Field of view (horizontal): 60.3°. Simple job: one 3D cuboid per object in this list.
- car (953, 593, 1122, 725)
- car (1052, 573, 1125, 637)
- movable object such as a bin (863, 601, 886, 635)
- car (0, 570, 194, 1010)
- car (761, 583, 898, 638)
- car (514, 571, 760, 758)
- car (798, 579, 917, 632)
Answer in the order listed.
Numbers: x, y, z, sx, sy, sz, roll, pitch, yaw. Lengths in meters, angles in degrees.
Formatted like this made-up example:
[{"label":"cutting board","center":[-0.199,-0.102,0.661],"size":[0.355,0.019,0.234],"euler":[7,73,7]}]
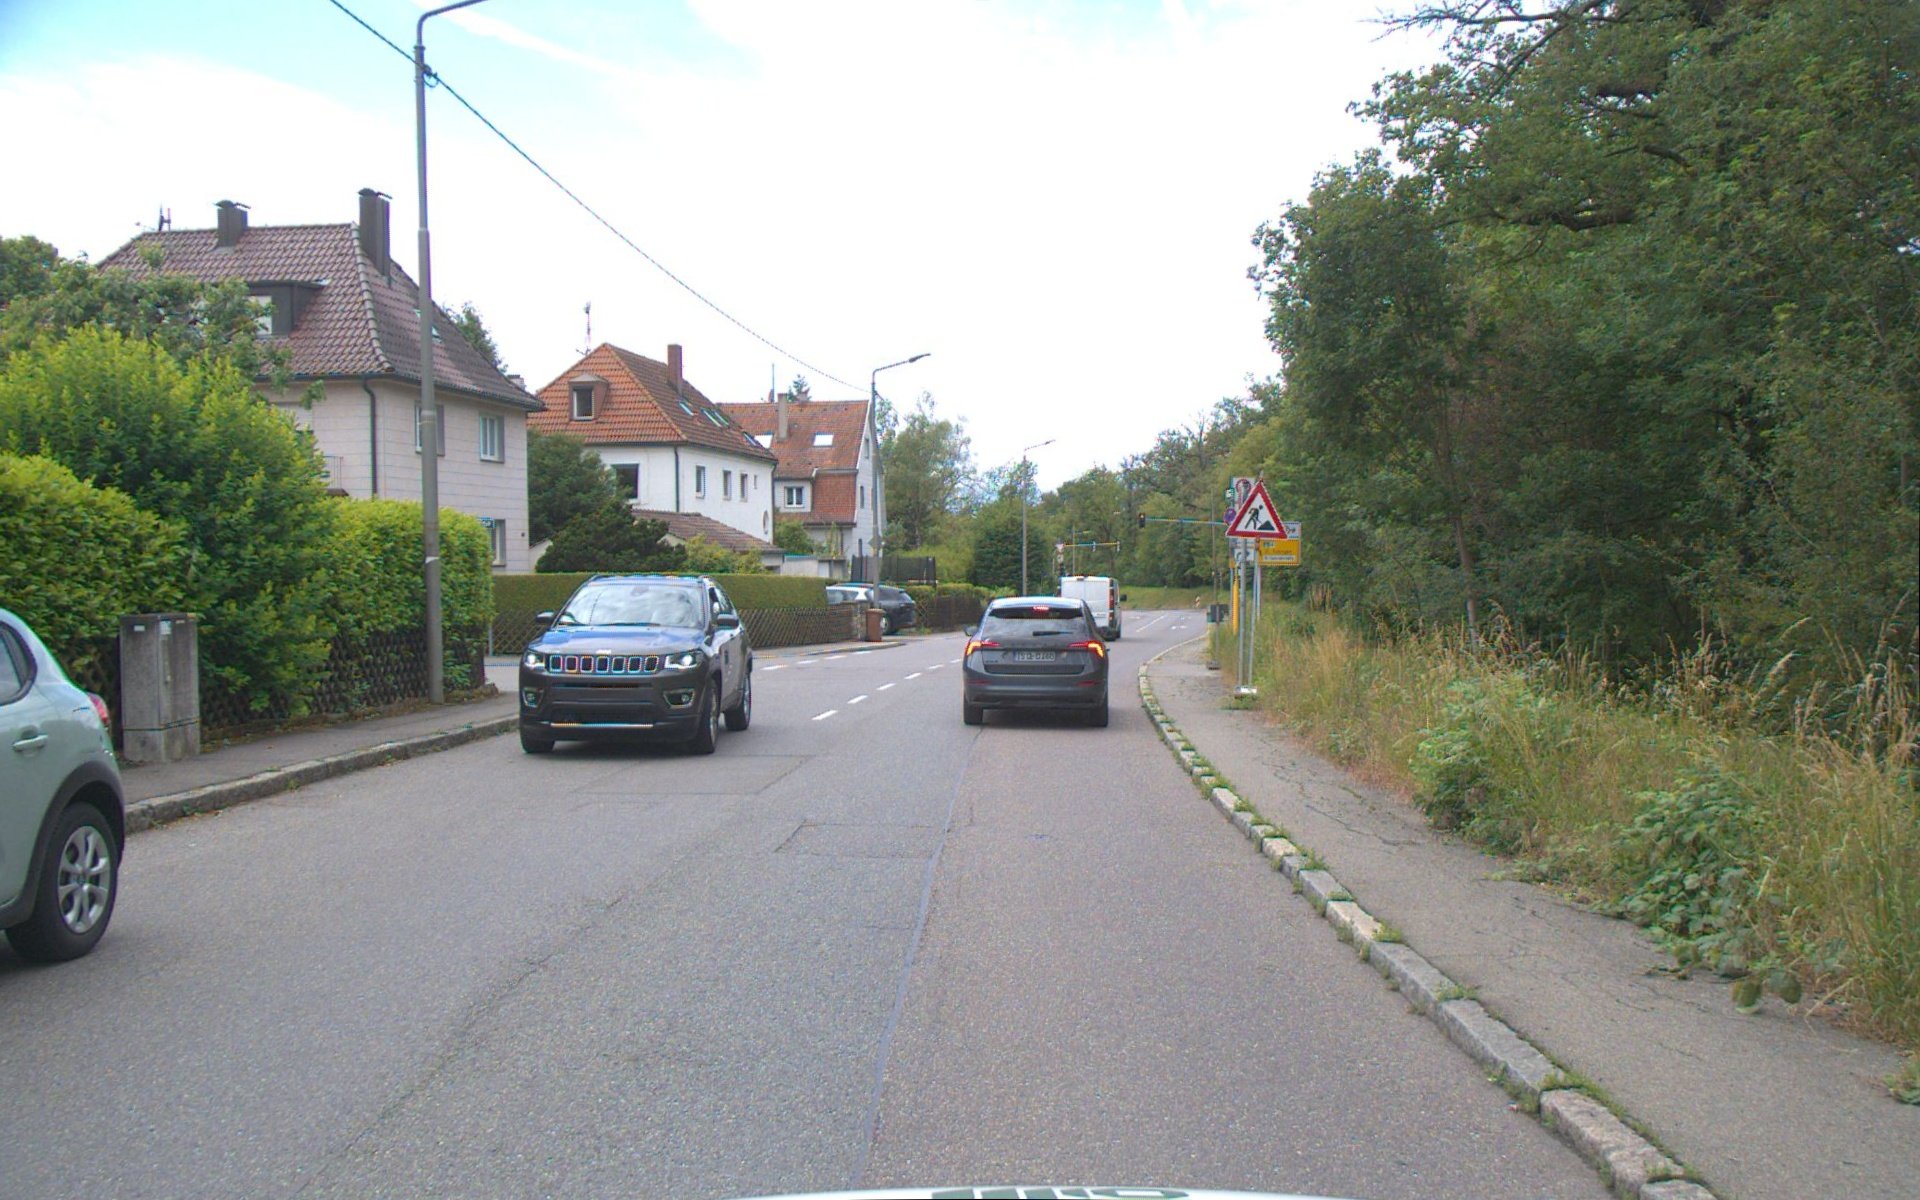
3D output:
[{"label":"car","center":[0.854,0.646,20.484],"size":[1.693,1.464,4.321],"euler":[0,0,-3]},{"label":"car","center":[4.169,0.140,52.882],"size":[2.027,1.956,4.926],"euler":[0,0,8]},{"label":"movable object such as a bin","center":[-2.460,0.520,47.777],"size":[0.586,0.967,0.579],"euler":[0,0,5]},{"label":"car","center":[-4.200,0.652,5.146],"size":[1.747,1.526,4.014],"euler":[1,0,0]},{"label":"car","center":[-4.005,0.304,51.338],"size":[3.902,1.646,2.002],"euler":[-1,0,7]},{"label":"car","center":[-3.067,0.523,16.552],"size":[1.797,1.625,4.322],"euler":[0,1,-3]},{"label":"car","center":[-3.449,0.166,56.433],"size":[3.905,1.735,1.917],"euler":[0,0,0]}]
